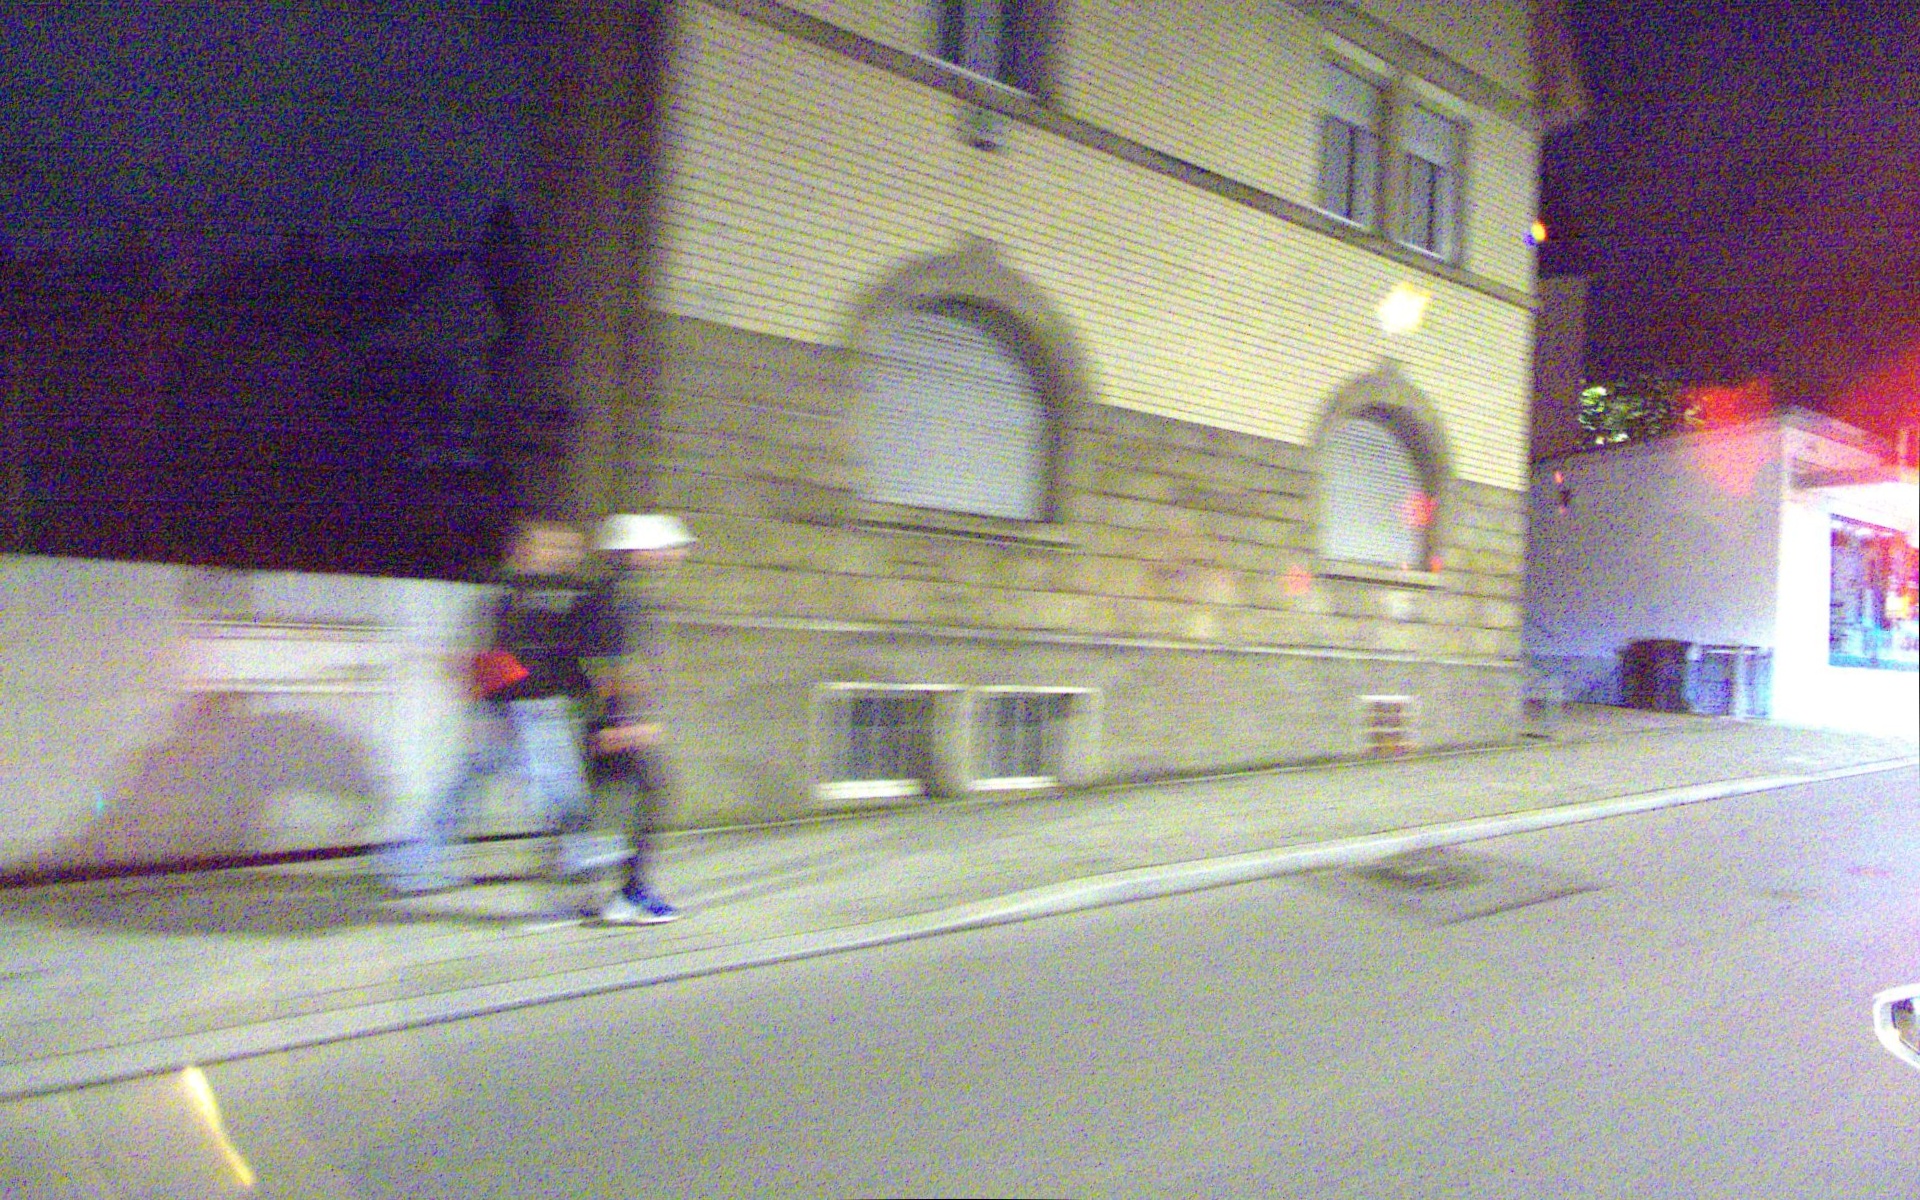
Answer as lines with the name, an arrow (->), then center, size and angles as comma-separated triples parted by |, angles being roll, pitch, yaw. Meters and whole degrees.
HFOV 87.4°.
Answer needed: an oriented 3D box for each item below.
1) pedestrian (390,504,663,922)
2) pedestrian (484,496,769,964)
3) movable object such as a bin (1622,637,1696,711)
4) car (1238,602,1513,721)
pedestrian -> -2.101, 0.489, 4.856 | 1.091, 1.768, 0.738 | 1, 0, -32
pedestrian -> -1.449, 0.502, 4.355 | 1.017, 1.768, 0.672 | 1, 0, -32
movable object such as a bin -> 10.519, 1.110, 15.132 | 0.643, 1.063, 0.639 | 1, 0, -12
car -> 5.862, 0.801, 14.503 | 1.655, 1.470, 3.340 | 2, 0, -31
